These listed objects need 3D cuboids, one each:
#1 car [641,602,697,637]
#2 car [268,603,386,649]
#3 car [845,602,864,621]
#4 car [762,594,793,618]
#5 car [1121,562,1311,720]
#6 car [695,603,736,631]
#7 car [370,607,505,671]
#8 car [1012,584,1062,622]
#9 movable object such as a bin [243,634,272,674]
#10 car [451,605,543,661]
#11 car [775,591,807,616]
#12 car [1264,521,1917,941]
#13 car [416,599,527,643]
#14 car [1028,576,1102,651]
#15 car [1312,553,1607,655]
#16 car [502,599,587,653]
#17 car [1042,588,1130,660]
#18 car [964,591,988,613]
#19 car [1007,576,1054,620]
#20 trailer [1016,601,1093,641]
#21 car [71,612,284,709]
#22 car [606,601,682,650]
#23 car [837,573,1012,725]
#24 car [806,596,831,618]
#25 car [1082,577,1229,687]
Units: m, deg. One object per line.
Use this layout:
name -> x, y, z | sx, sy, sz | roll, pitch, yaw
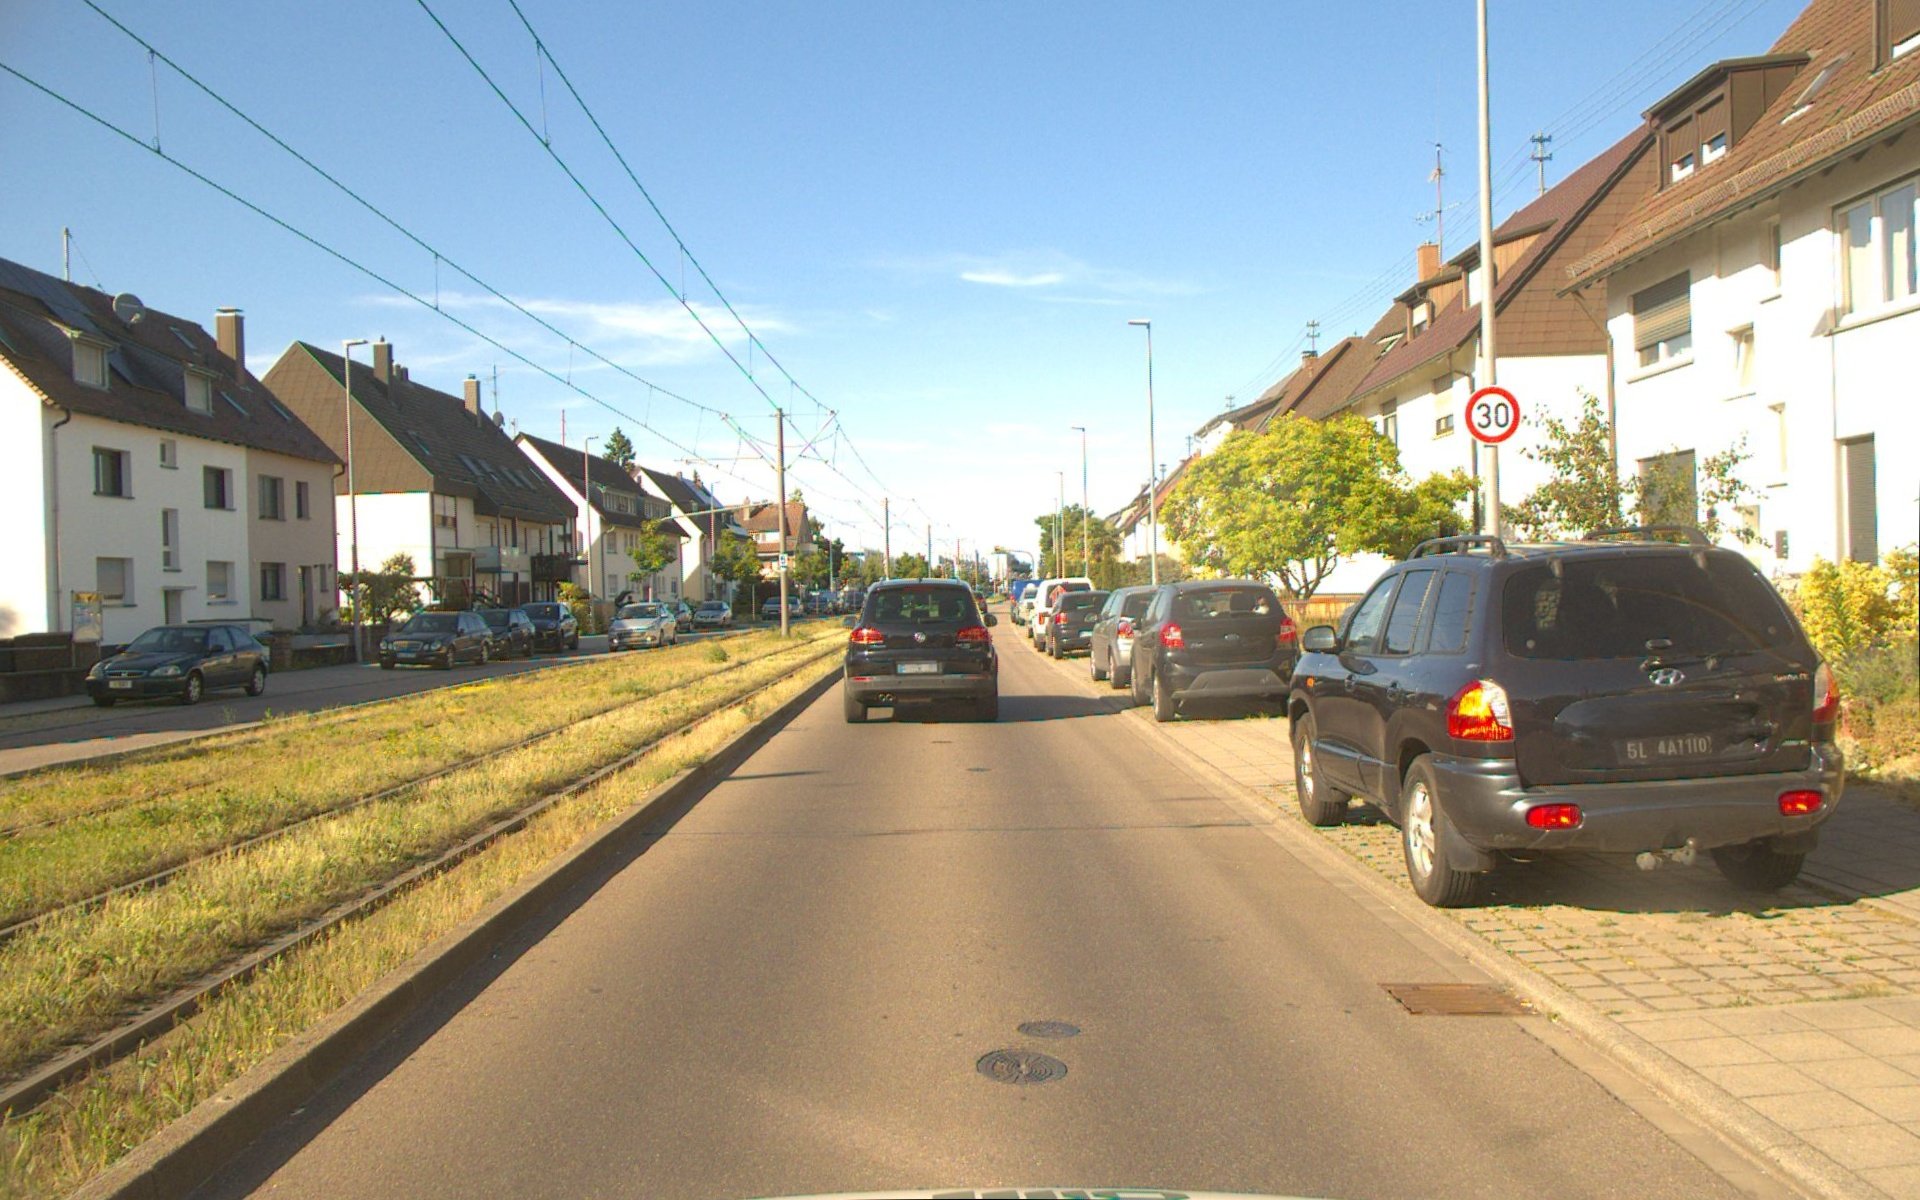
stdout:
car -> -13.414, 0.879, 76.467 | 1.584, 1.478, 3.720 | -2, 1, 5
car -> -25.964, 1.051, 67.883 | 4.071, 1.683, 1.858 | -2, 0, 3
car -> -10.035, 1.092, 157.529 | 1.435, 1.706, 3.287 | -2, -1, 0
car -> -12.359, 0.389, 112.221 | 1.625, 1.523, 3.580 | -2, 0, 1
car -> 2.933, 0.430, 19.673 | 1.632, 1.574, 3.836 | -4, 0, 1
car -> -13.180, 0.941, 89.243 | 1.585, 1.433, 3.717 | -2, -1, 1
car -> -13.874, 1.003, 44.199 | 1.838, 1.549, 4.882 | -1, 0, 3
car -> 3.269, 0.125, 70.662 | 1.750, 1.466, 4.458 | -3, 0, -1
movable object such as a bin -> -16.963, 1.301, 39.943 | 0.380, 0.943, 0.704 | -2, -2, -2
car -> -13.824, 0.959, 49.544 | 1.489, 1.500, 4.201 | -2, 1, 1
car -> -12.080, 0.245, 118.548 | 1.766, 1.660, 4.000 | -2, 1, 1
car -> 3.052, 0.531, 9.160 | 1.816, 1.688, 4.472 | -2, 0, -1
car -> -20.272, 0.850, 68.742 | 4.083, 1.645, 1.758 | -2, 0, -4
car -> 2.722, 0.321, 43.739 | 1.655, 1.807, 4.656 | -2, 0, 1
car -> 8.200, 0.084, 27.668 | 1.969, 1.470, 4.842 | -3, 0, -25
car -> -13.770, 0.830, 55.066 | 1.767, 1.625, 4.809 | -2, 0, -3
car -> 2.814, 0.516, 37.616 | 1.637, 1.478, 4.125 | -2, 0, 0
car -> 1.030, 0.126, 110.688 | 1.540, 1.415, 3.614 | -2, 0, 0
car -> 3.256, -0.104, 77.035 | 1.953, 1.894, 4.917 | -2, 0, 0
trailer -> 3.015, 0.646, 53.882 | 2.159, 1.113, 4.371 | -3, 0, -1
car -> -13.936, 1.027, 29.742 | 1.753, 1.488, 4.167 | -2, 0, 1
car -> -10.389, 0.863, 54.626 | 1.673, 1.516, 4.024 | -2, -1, 1
car -> -0.550, 0.553, 20.701 | 1.777, 1.700, 4.251 | 0, 0, -7
car -> -11.517, 0.588, 134.755 | 1.626, 1.609, 4.000 | -2, -1, 1
car -> 2.929, 0.453, 25.630 | 1.583, 1.501, 4.448 | -2, 0, -2
